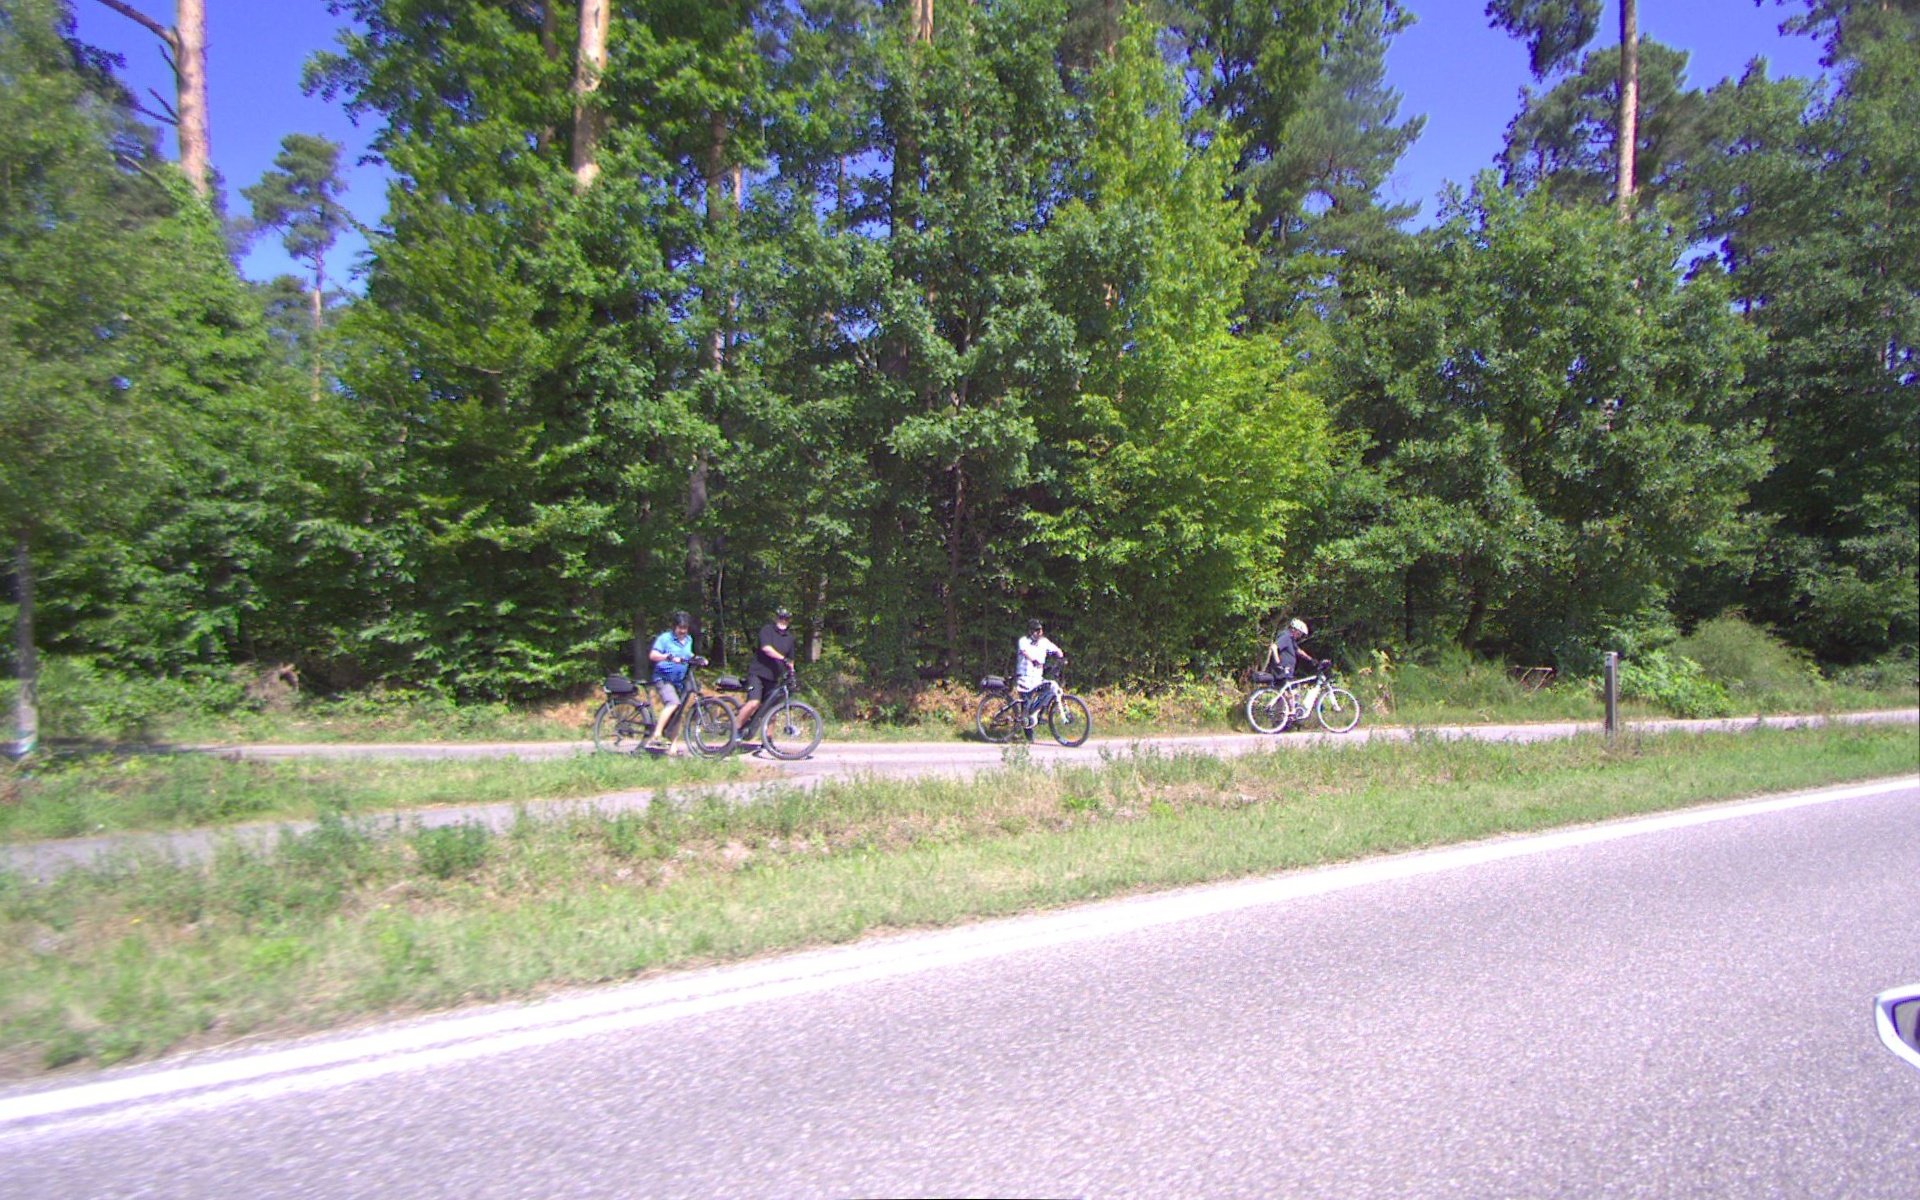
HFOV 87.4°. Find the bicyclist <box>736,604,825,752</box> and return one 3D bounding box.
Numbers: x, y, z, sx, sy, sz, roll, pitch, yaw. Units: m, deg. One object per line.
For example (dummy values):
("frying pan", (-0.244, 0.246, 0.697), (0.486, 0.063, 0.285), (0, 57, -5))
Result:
("bicyclist", (-2.191, 0.926, 12.309), (0.833, 1.723, 0.606), (2, 0, 14))

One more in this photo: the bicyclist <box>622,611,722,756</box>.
("bicyclist", (-3.286, 0.925, 11.498), (0.854, 1.566, 0.606), (2, 0, 14))

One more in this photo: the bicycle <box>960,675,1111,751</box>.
("bicycle", (1.030, 1.527, 13.796), (1.946, 0.840, 0.606), (2, 0, 21))

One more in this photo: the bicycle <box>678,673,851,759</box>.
("bicycle", (-2.352, 1.378, 12.091), (1.945, 0.840, 0.606), (2, 0, 14))

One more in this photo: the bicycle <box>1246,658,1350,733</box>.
("bicycle", (5.284, 1.484, 15.734), (1.419, 1.101, 0.582), (0, 1, -1))

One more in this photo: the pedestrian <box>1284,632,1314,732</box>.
("pedestrian", (5.375, 1.286, 15.922), (0.386, 1.559, 0.282), (1, -1, -35))

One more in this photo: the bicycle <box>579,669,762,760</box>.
("bicycle", (-3.305, 1.287, 11.493), (1.945, 0.840, 0.606), (2, 0, 14))

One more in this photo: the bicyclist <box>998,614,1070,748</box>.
("bicyclist", (1.022, 1.086, 13.797), (0.774, 1.741, 0.606), (2, 0, 21))
